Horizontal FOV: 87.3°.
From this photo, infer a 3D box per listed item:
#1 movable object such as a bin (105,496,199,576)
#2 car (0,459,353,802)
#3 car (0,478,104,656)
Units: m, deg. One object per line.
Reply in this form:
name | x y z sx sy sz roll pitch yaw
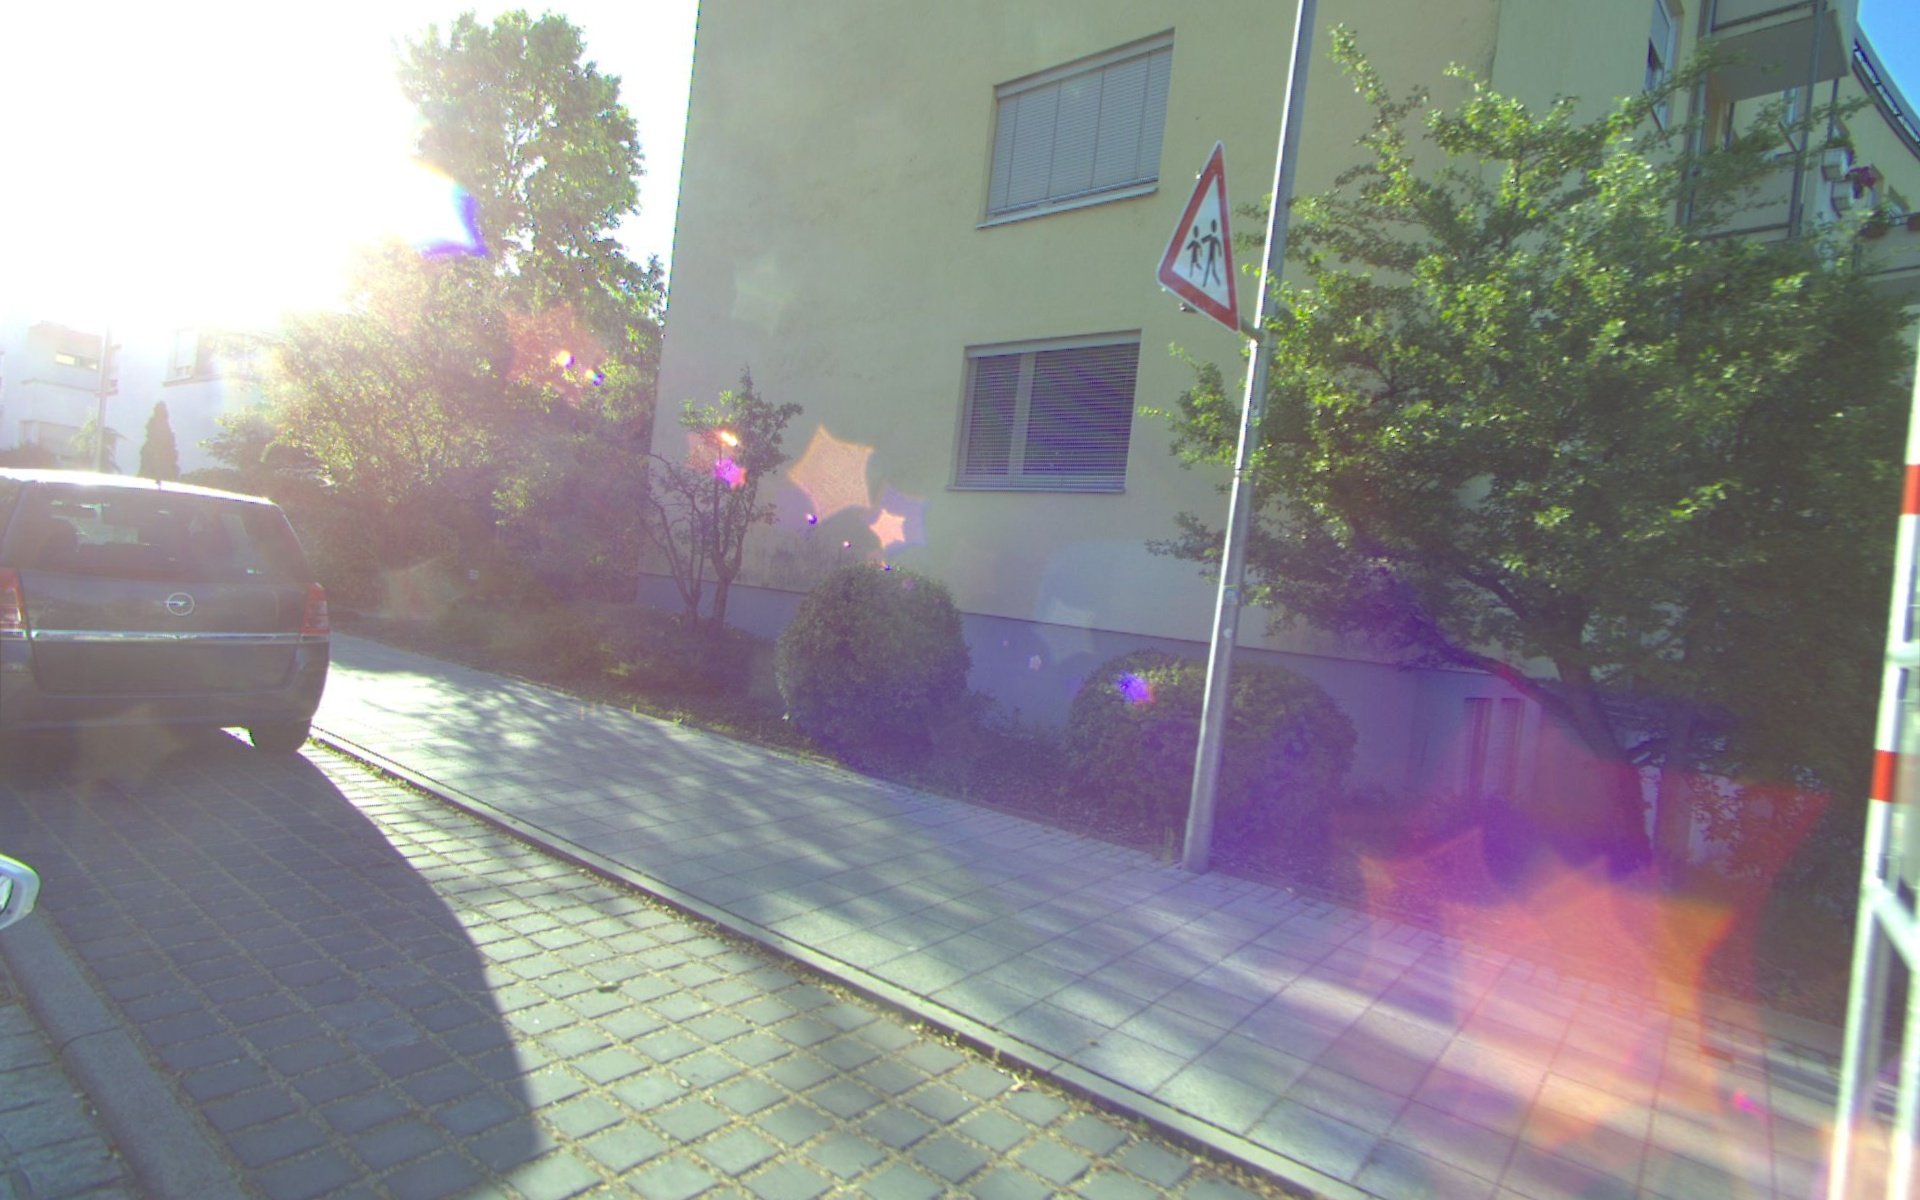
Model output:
movable object such as a bin | -16.766 -1.317 20.884 1.107 1.450 1.236 7 0 40
car | -5.777 -0.003 6.521 4.105 1.632 1.708 7 2 37
car | -10.182 -0.475 10.027 4.082 1.576 1.677 6 1 38
